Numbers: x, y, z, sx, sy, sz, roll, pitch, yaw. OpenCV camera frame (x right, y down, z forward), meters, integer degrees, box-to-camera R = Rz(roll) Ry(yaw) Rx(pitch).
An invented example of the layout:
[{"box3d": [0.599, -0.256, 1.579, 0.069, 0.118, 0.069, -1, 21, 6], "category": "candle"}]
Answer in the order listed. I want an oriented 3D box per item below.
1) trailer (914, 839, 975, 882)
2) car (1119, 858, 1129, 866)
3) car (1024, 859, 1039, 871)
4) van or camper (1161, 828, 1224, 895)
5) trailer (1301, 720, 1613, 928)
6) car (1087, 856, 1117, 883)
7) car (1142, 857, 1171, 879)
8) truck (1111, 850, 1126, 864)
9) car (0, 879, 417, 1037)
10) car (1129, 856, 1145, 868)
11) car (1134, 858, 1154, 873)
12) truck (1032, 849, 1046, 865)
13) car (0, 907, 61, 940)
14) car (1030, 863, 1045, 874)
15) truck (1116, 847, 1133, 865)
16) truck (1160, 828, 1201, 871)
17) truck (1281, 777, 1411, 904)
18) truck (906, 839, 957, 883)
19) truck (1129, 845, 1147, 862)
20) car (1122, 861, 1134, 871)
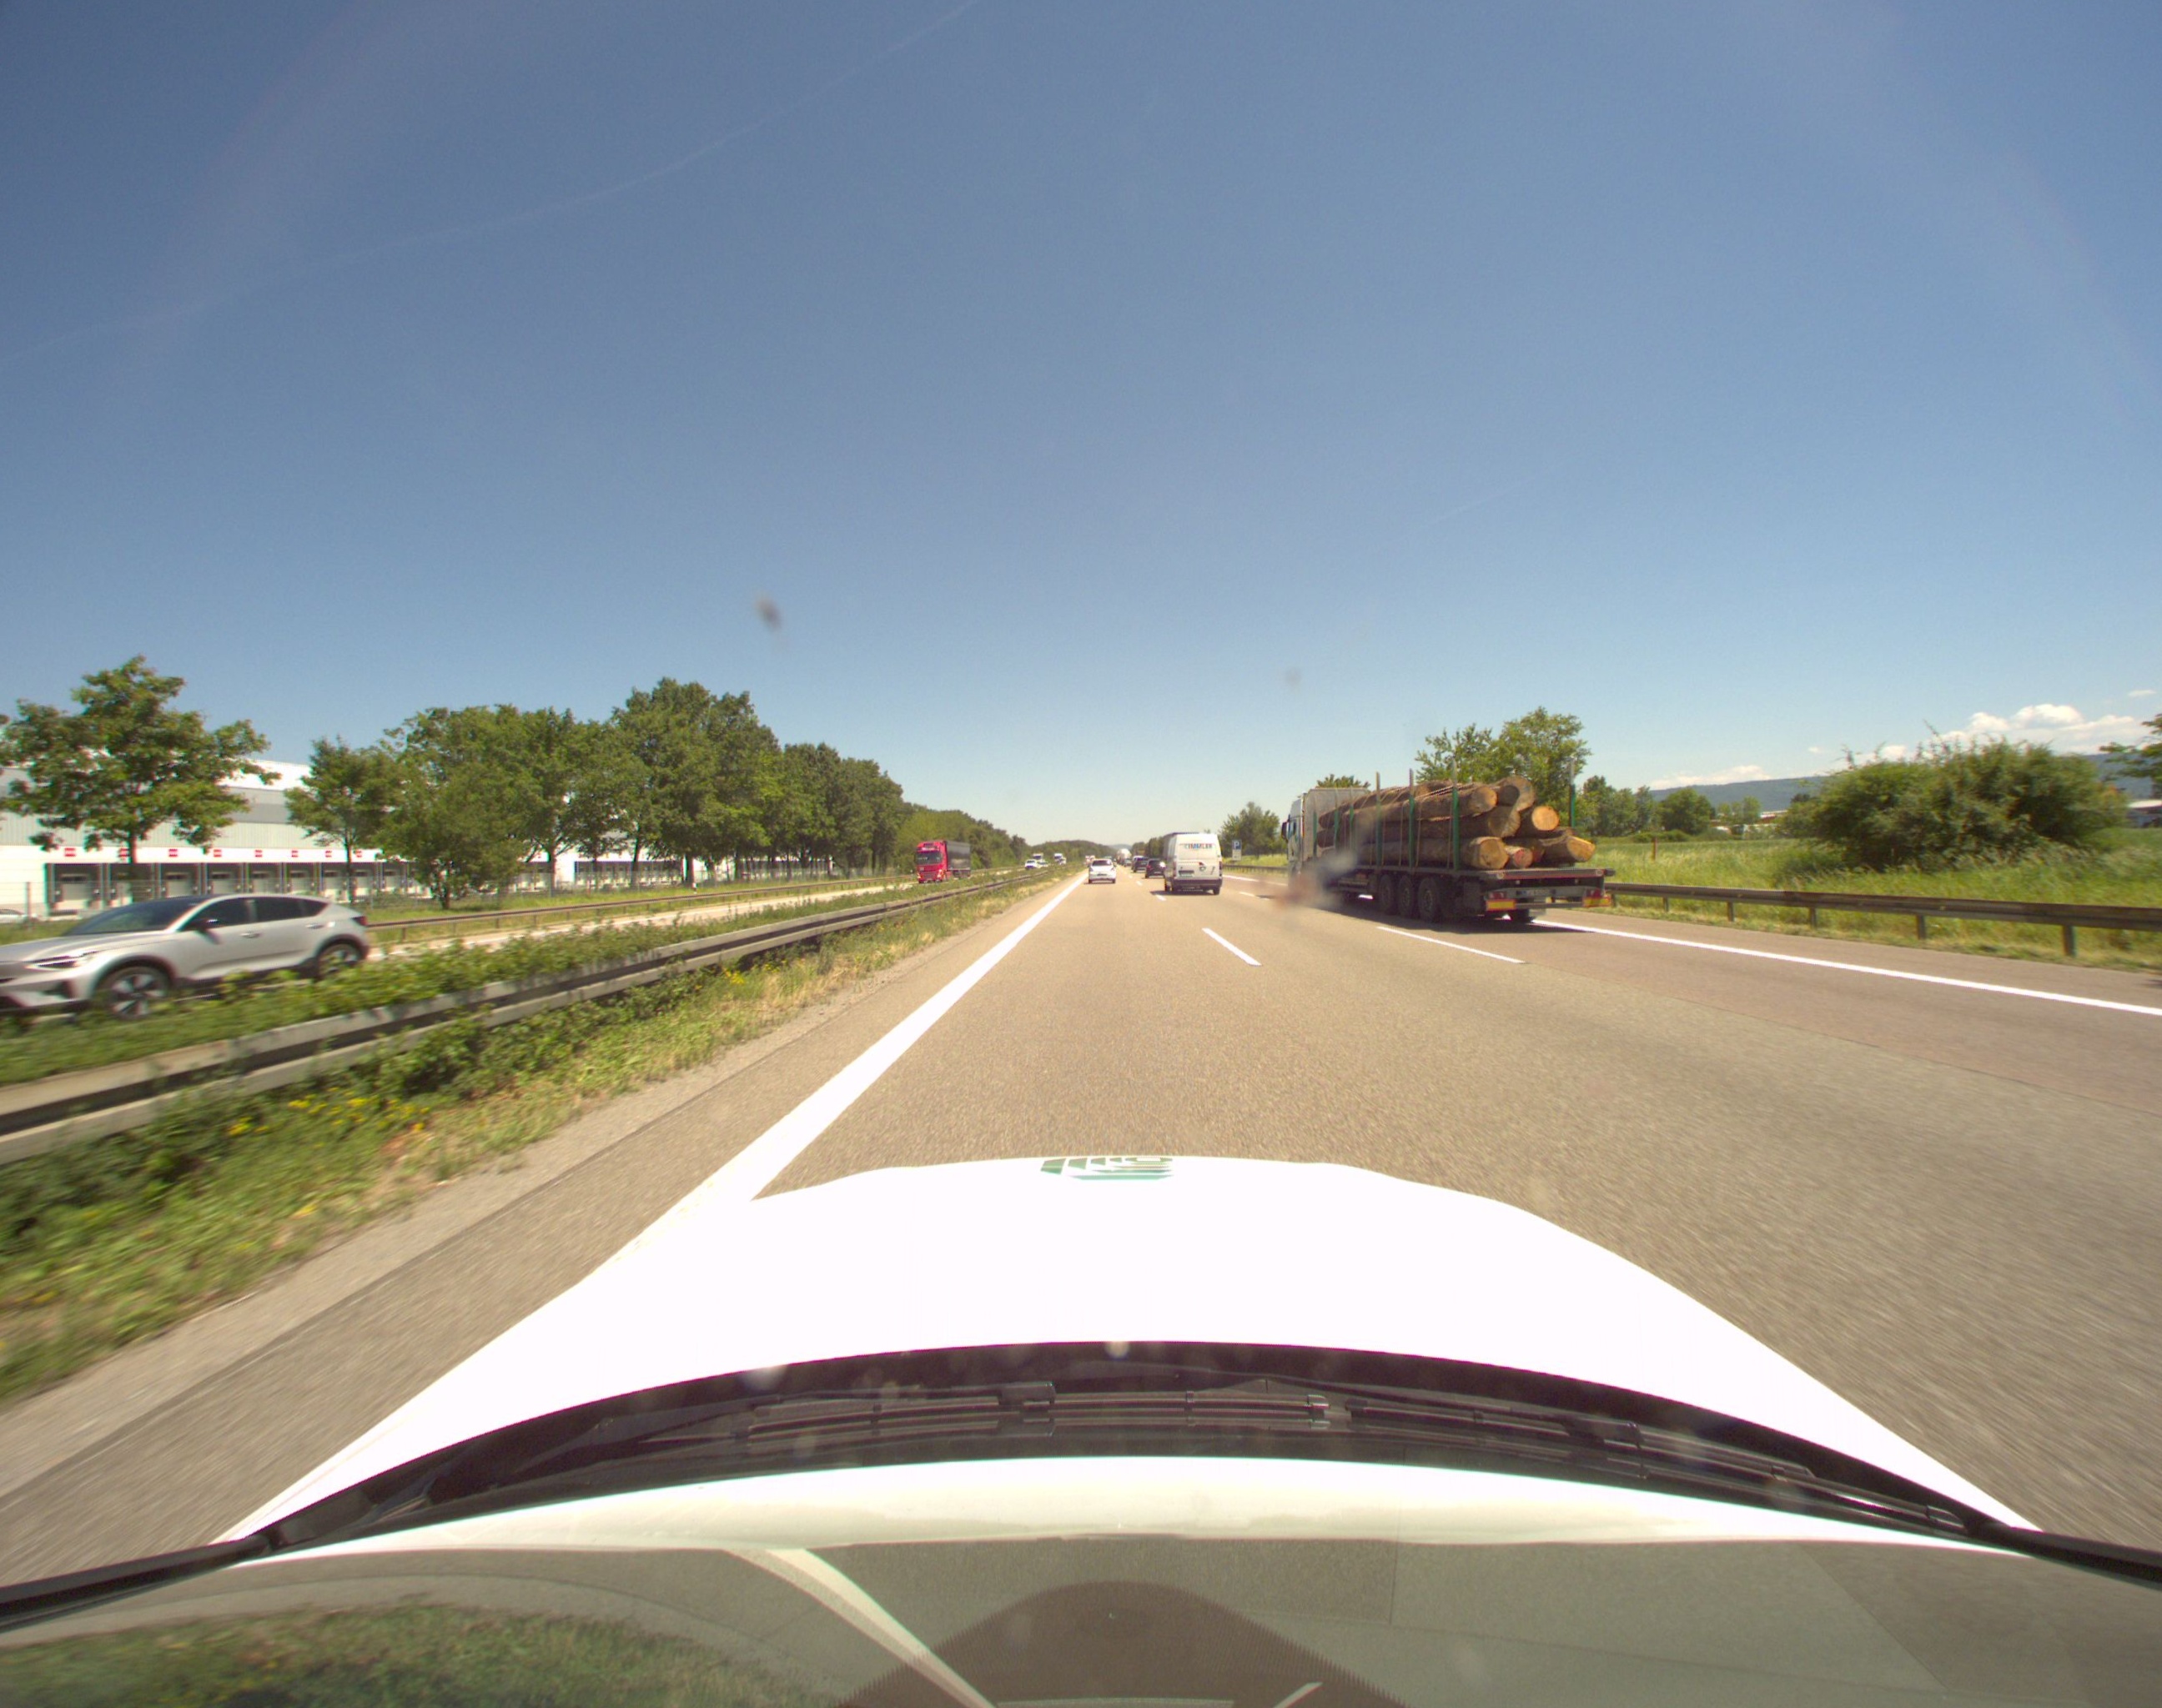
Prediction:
[{"box3d": [-14.221, 0.687, 86.343, 3.434, 4.011, 14.209, -4, 0, 2], "category": "trailer"}, {"box3d": [8.858, 1.573, 167.224, 1.851, 1.652, 3.999, -1, 0, 0], "category": "car"}, {"box3d": [-8.329, 1.881, 137.598, 1.989, 1.912, 5.211, -3, 0, 0], "category": "car"}, {"box3d": [4.730, 0.321, 35.449, 2.050, 2.622, 5.987, -1, 0, 2], "category": "van or camper"}, {"box3d": [9.014, -0.541, 22.379, 2.643, 3.958, 13.641, -1, 0, 2], "category": "trailer"}, {"box3d": [1.285, 0.954, 51.201, 1.851, 1.652, 3.999, 0, 0, 0], "category": "car"}, {"box3d": [5.769, 1.049, 62.501, 1.851, 1.652, 3.999, -1, 0, 0], "category": "car"}, {"box3d": [11.006, 0.888, 240.972, 3.248, 4.209, 16.836, 0, 0, -1], "category": "truck"}, {"box3d": [-12.709, 1.320, 11.935, 1.839, 1.682, 4.816, -3, -1, 2], "category": "car"}, {"box3d": [7.555, 1.106, 110.558, 1.851, 1.652, 3.999, -1, 0, 0], "category": "car"}, {"box3d": [6.720, 1.219, 87.279, 1.851, 1.652, 3.999, -1, 0, 0], "category": "car"}, {"box3d": [-10.444, 0.702, 203.880, 2.596, 3.761, 9.869, -3, 0, 2], "category": "truck"}, {"box3d": [-72.799, 4.787, 55.243, 1.986, 2.013, 4.001, -3, 0, 1], "category": "car"}, {"box3d": [-6.620, 2.172, 125.048, 1.914, 1.529, 4.868, -3, 0, 1], "category": "car"}, {"box3d": [10.837, 0.586, 206.191, 3.248, 4.209, 16.836, 0, 0, -1], "category": "truck"}, {"box3d": [10.618, -0.387, 88.359, 3.067, 4.209, 16.851, 0, 0, 2], "category": "truck"}, {"box3d": [9.207, -0.417, 29.142, 2.660, 3.994, 6.638, -1, 0, 2], "category": "truck"}, {"box3d": [-14.439, 0.648, 79.363, 3.426, 3.931, 6.223, -4, -1, 2], "category": "truck"}, {"box3d": [14.647, -0.012, 210.687, 3.248, 4.209, 16.836, 0, 0, -1], "category": "truck"}, {"box3d": [8.152, 2.097, 142.330, 1.851, 1.652, 3.999, -1, 0, 0], "category": "car"}]
